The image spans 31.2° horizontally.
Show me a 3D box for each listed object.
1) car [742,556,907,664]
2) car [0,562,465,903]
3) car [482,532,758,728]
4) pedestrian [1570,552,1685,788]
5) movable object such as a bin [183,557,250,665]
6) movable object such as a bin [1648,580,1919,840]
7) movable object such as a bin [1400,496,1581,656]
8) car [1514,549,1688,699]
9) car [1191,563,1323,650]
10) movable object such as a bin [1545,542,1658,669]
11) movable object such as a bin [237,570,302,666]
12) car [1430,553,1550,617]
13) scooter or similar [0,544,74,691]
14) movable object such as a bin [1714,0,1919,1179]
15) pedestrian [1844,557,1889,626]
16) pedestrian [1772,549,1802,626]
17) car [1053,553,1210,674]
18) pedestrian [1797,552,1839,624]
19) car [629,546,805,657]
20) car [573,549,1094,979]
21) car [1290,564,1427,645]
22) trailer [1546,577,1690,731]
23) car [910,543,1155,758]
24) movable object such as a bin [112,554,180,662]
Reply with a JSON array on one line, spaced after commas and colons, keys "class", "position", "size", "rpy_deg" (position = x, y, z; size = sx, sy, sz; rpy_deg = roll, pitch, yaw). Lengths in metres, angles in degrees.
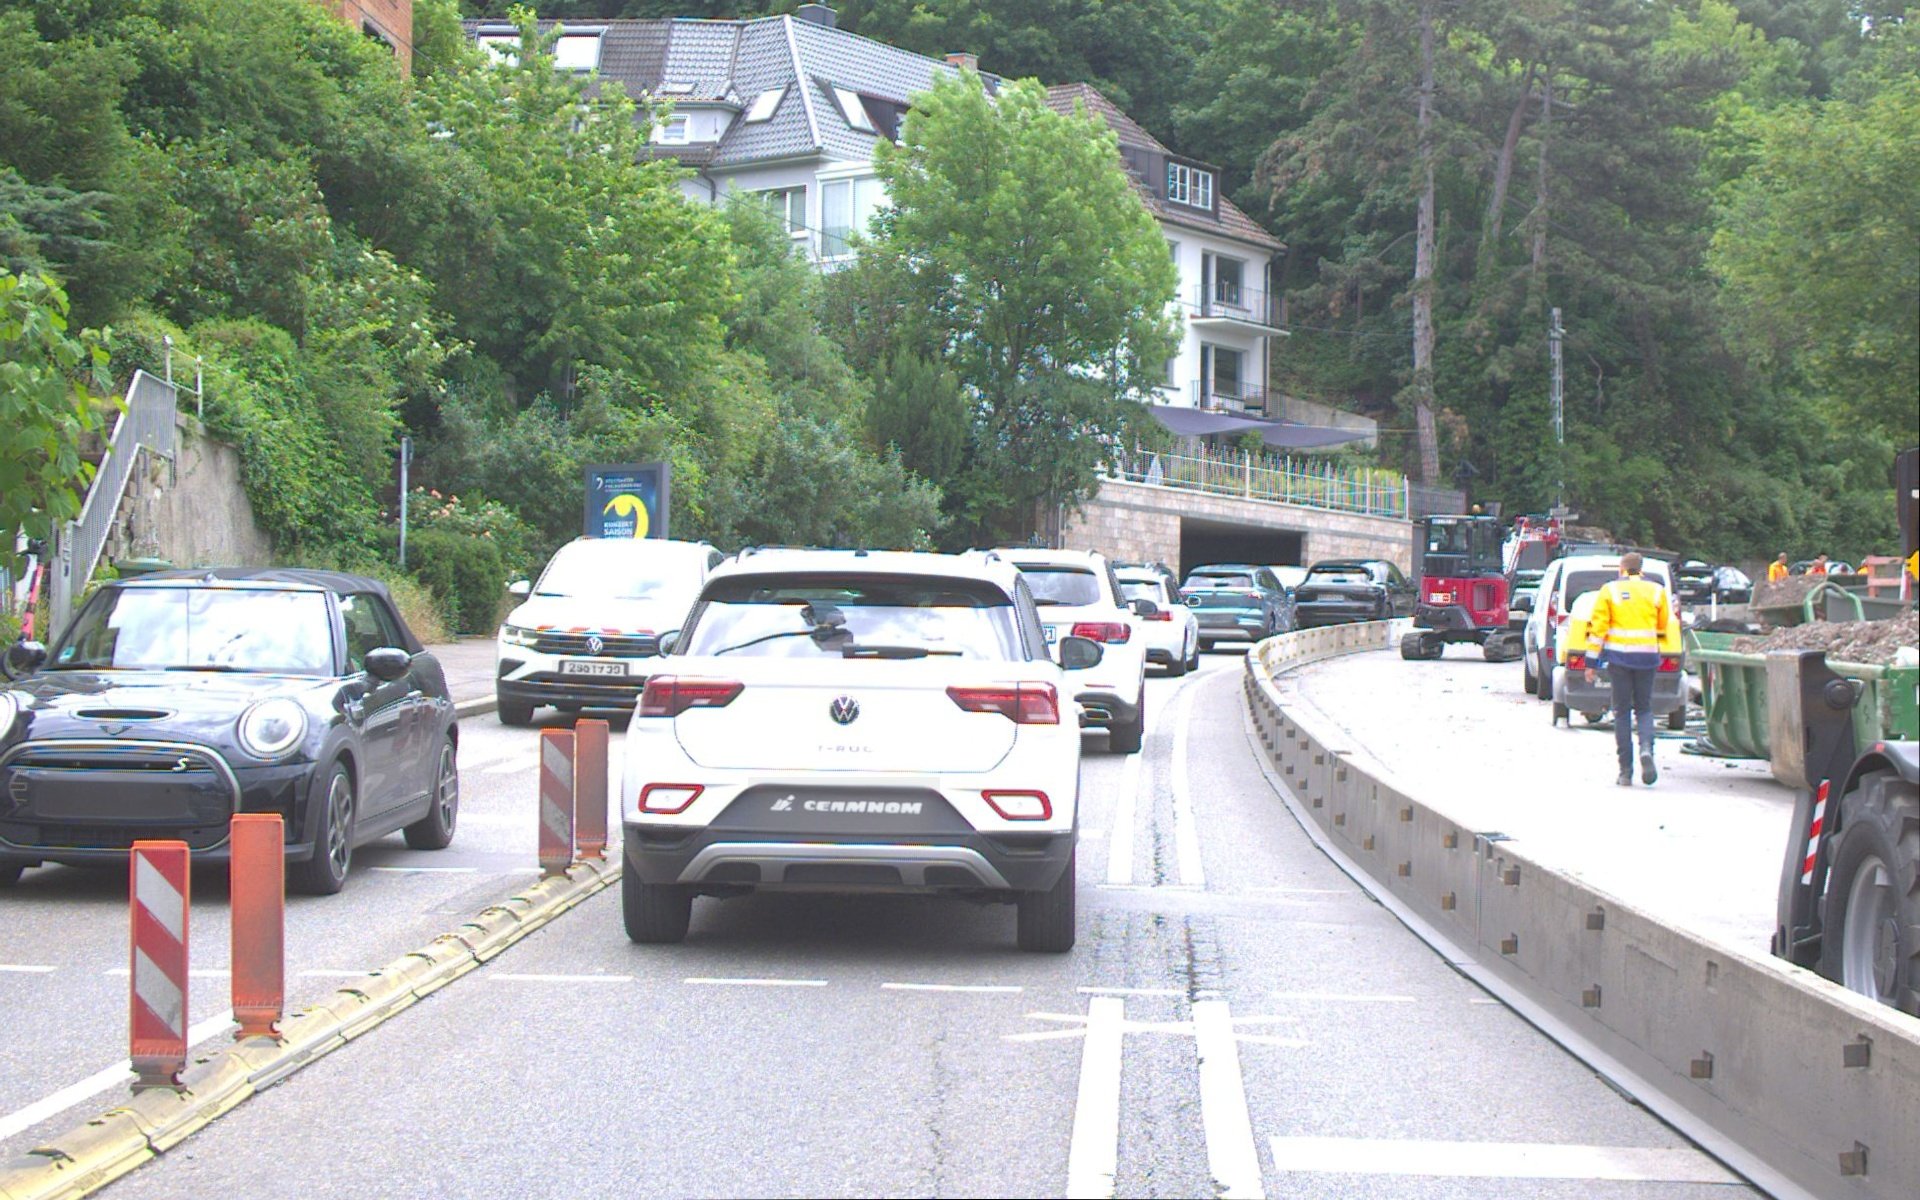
[{"class": "car", "position": [-1.829, 0.106, 47.561], "size": [1.726, 1.415, 3.820], "rpy_deg": [0, 1, 6]}, {"class": "car", "position": [-3.522, 0.545, 16.265], "size": [1.672, 1.425, 3.587], "rpy_deg": [0, 0, 3]}, {"class": "car", "position": [-2.953, 0.217, 30.662], "size": [1.842, 1.594, 4.263], "rpy_deg": [1, 1, 2]}, {"class": "pedestrian", "position": [4.945, 0.505, 25.497], "size": [0.645, 1.696, 0.850], "rpy_deg": [2, 1, 2]}, {"class": "movable object such as a bin", "position": [-7.437, 0.108, 34.410], "size": [0.468, 1.050, 0.624], "rpy_deg": [3, 1, 2]}, {"class": "movable object such as a bin", "position": [6.828, 0.683, 24.638], "size": [2.374, 1.556, 7.099], "rpy_deg": [2, 1, 0]}, {"class": "movable object such as a bin", "position": [9.381, -0.433, 60.475], "size": [2.214, 2.653, 4.940], "rpy_deg": [2, 1, 19]}, {"class": "car", "position": [8.083, 0.263, 43.673], "size": [1.833, 1.773, 4.267], "rpy_deg": [1, 1, 7]}, {"class": "car", "position": [5.358, 0.086, 61.646], "size": [1.795, 1.505, 3.998], "rpy_deg": [0, 1, 13]}, {"class": "movable object such as a bin", "position": [10.424, 0.054, 55.959], "size": [1.702, 1.936, 4.163], "rpy_deg": [2, 1, 10]}, {"class": "movable object such as a bin", "position": [-6.899, 0.176, 34.368], "size": [0.468, 0.931, 0.624], "rpy_deg": [3, 1, 2]}, {"class": "car", "position": [14.059, -0.415, 91.109], "size": [1.813, 1.657, 3.993], "rpy_deg": [0, 1, 30]}, {"class": "scooter or similar", "position": [-7.961, 0.133, 29.188], "size": [0.459, 1.201, 1.435], "rpy_deg": [3, 1, 0]}, {"class": "movable object such as a bin", "position": [3.926, -0.002, 6.827], "size": [2.811, 3.060, 7.824], "rpy_deg": [2, 1, -2]}, {"class": "pedestrian", "position": [22.329, -0.207, 84.687], "size": [0.784, 1.682, 0.783], "rpy_deg": [1, 1, 41]}, {"class": "pedestrian", "position": [20.699, -0.312, 86.043], "size": [0.690, 1.900, 0.825], "rpy_deg": [1, 1, 12]}, {"class": "car", "position": [2.487, 0.163, 49.040], "size": [1.810, 1.657, 3.999], "rpy_deg": [0, 1, 9]}, {"class": "pedestrian", "position": [21.874, -0.314, 87.686], "size": [0.877, 1.816, 0.877], "rpy_deg": [1, 1, 25]}, {"class": "car", "position": [-3.636, -0.003, 52.032], "size": [1.795, 1.505, 3.999], "rpy_deg": [4, 1, 8]}, {"class": "car", "position": [-0.392, 0.578, 14.601], "size": [1.810, 1.526, 4.000], "rpy_deg": [1, 1, 3]}, {"class": "car", "position": [8.366, 0.070, 71.931], "size": [1.812, 1.657, 3.995], "rpy_deg": [0, 1, 23]}, {"class": "trailer", "position": [6.813, 0.521, 35.797], "size": [1.289, 1.470, 3.632], "rpy_deg": [2, 1, 8]}, {"class": "car", "position": [0.668, 0.367, 28.572], "size": [1.810, 1.657, 3.999], "rpy_deg": [0, 1, 4]}, {"class": "movable object such as a bin", "position": [-8.150, 0.076, 34.425], "size": [0.468, 1.050, 0.624], "rpy_deg": [3, 1, 2]}]
